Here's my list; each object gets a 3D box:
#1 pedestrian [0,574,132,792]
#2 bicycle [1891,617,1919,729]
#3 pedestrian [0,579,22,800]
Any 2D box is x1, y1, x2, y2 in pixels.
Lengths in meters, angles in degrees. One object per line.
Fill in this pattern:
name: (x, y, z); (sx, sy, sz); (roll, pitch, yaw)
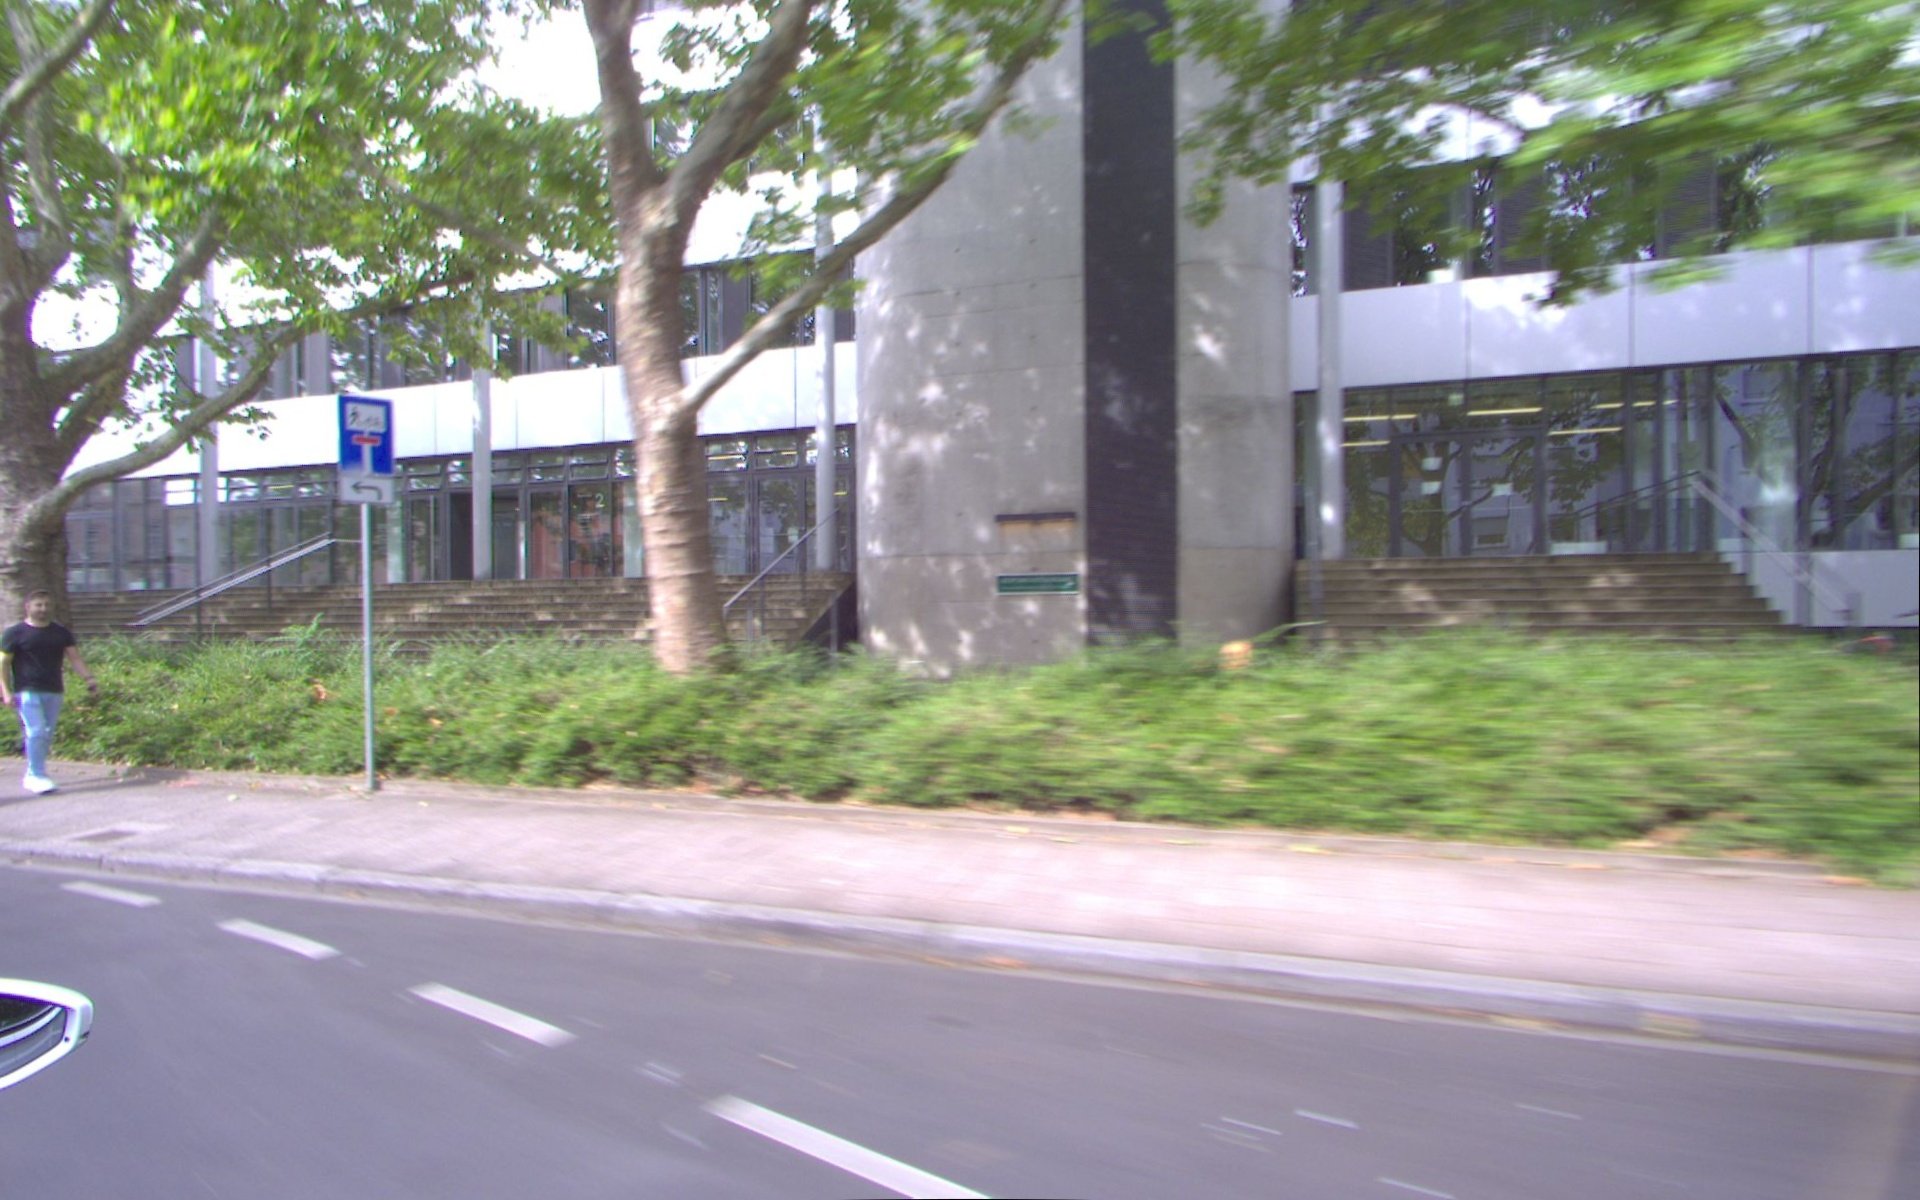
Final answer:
pedestrian: (-8.117, 0.700, 8.869); (1.015, 1.824, 0.716); (-1, 1, 17)
bicycle: (9.990, 0.751, 9.703); (0.661, 1.132, 1.917); (0, 0, 18)
pedestrian: (-8.411, 0.744, 8.118); (1.015, 1.807, 0.711); (-1, 1, 17)
